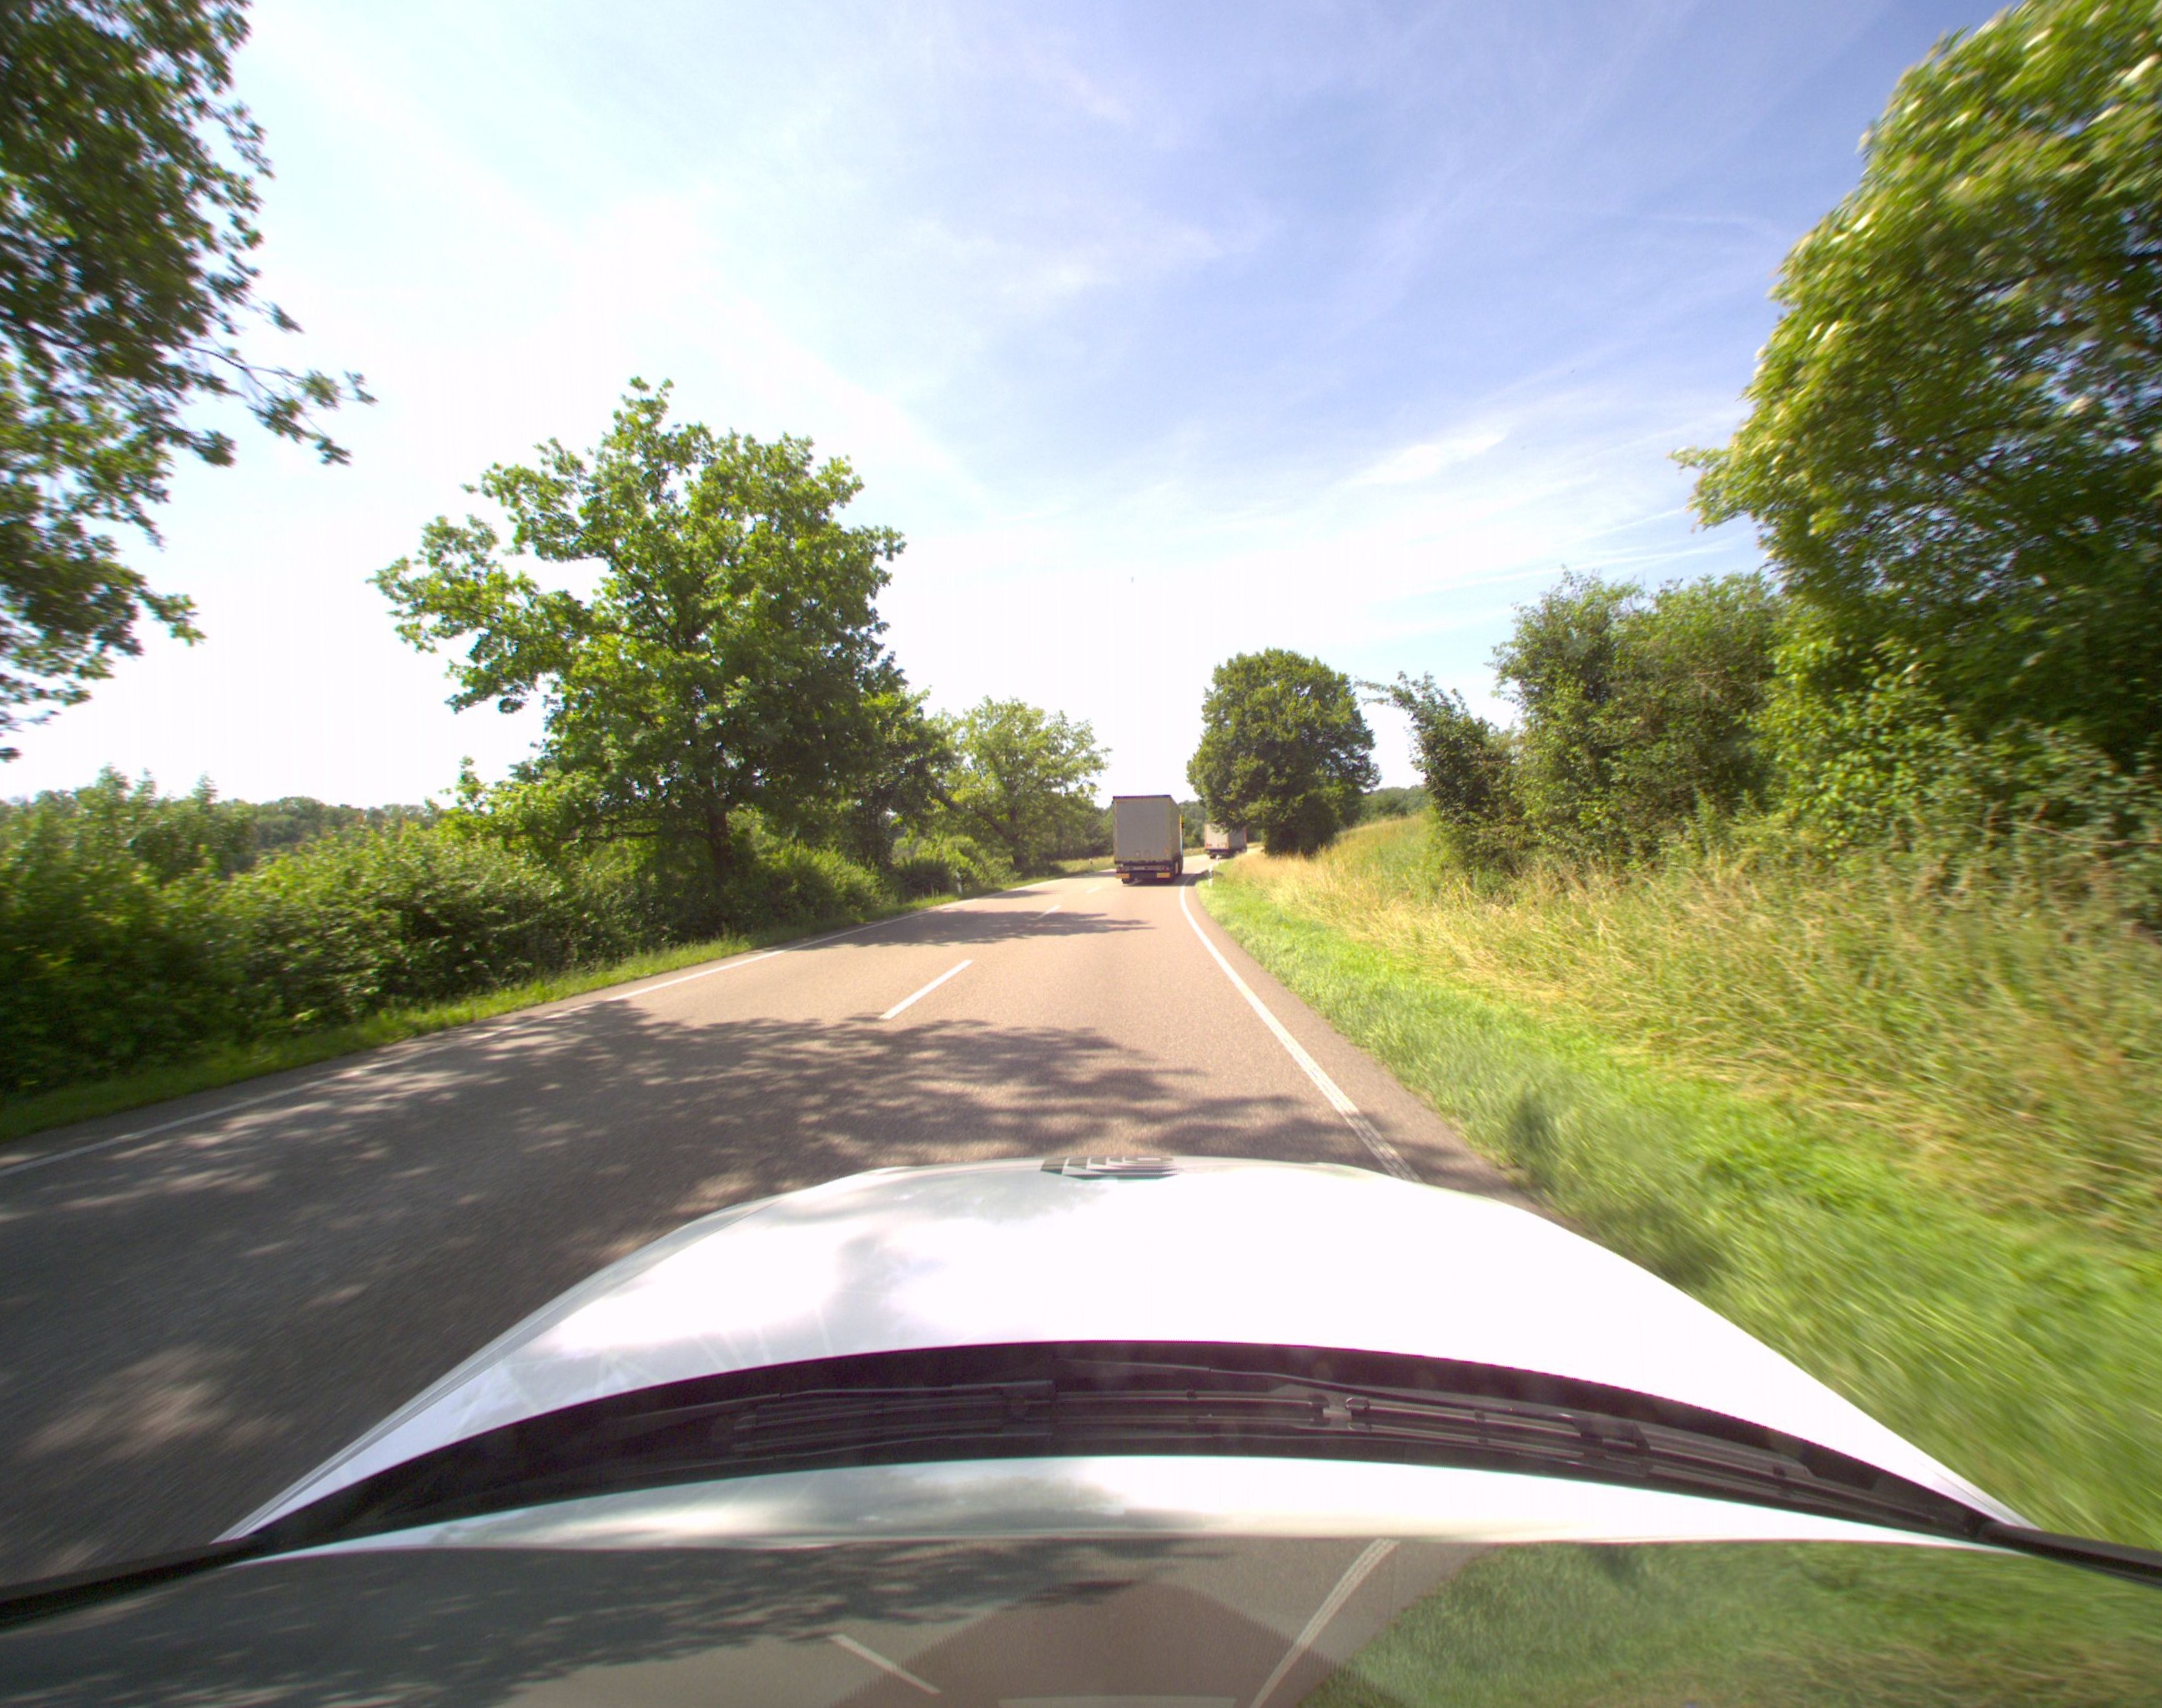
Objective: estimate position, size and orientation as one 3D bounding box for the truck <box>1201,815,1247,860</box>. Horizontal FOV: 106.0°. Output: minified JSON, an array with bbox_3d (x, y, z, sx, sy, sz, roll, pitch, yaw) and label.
[{"bbox_3d":[16.929,-1.941,95.304,3.080,4.705,16.665,-2,0,17],"label":"truck"}]

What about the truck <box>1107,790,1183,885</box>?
[{"bbox_3d":[3.718,-0.811,42.771,2.785,4.068,15.364,-1,1,9],"label":"truck"}]
